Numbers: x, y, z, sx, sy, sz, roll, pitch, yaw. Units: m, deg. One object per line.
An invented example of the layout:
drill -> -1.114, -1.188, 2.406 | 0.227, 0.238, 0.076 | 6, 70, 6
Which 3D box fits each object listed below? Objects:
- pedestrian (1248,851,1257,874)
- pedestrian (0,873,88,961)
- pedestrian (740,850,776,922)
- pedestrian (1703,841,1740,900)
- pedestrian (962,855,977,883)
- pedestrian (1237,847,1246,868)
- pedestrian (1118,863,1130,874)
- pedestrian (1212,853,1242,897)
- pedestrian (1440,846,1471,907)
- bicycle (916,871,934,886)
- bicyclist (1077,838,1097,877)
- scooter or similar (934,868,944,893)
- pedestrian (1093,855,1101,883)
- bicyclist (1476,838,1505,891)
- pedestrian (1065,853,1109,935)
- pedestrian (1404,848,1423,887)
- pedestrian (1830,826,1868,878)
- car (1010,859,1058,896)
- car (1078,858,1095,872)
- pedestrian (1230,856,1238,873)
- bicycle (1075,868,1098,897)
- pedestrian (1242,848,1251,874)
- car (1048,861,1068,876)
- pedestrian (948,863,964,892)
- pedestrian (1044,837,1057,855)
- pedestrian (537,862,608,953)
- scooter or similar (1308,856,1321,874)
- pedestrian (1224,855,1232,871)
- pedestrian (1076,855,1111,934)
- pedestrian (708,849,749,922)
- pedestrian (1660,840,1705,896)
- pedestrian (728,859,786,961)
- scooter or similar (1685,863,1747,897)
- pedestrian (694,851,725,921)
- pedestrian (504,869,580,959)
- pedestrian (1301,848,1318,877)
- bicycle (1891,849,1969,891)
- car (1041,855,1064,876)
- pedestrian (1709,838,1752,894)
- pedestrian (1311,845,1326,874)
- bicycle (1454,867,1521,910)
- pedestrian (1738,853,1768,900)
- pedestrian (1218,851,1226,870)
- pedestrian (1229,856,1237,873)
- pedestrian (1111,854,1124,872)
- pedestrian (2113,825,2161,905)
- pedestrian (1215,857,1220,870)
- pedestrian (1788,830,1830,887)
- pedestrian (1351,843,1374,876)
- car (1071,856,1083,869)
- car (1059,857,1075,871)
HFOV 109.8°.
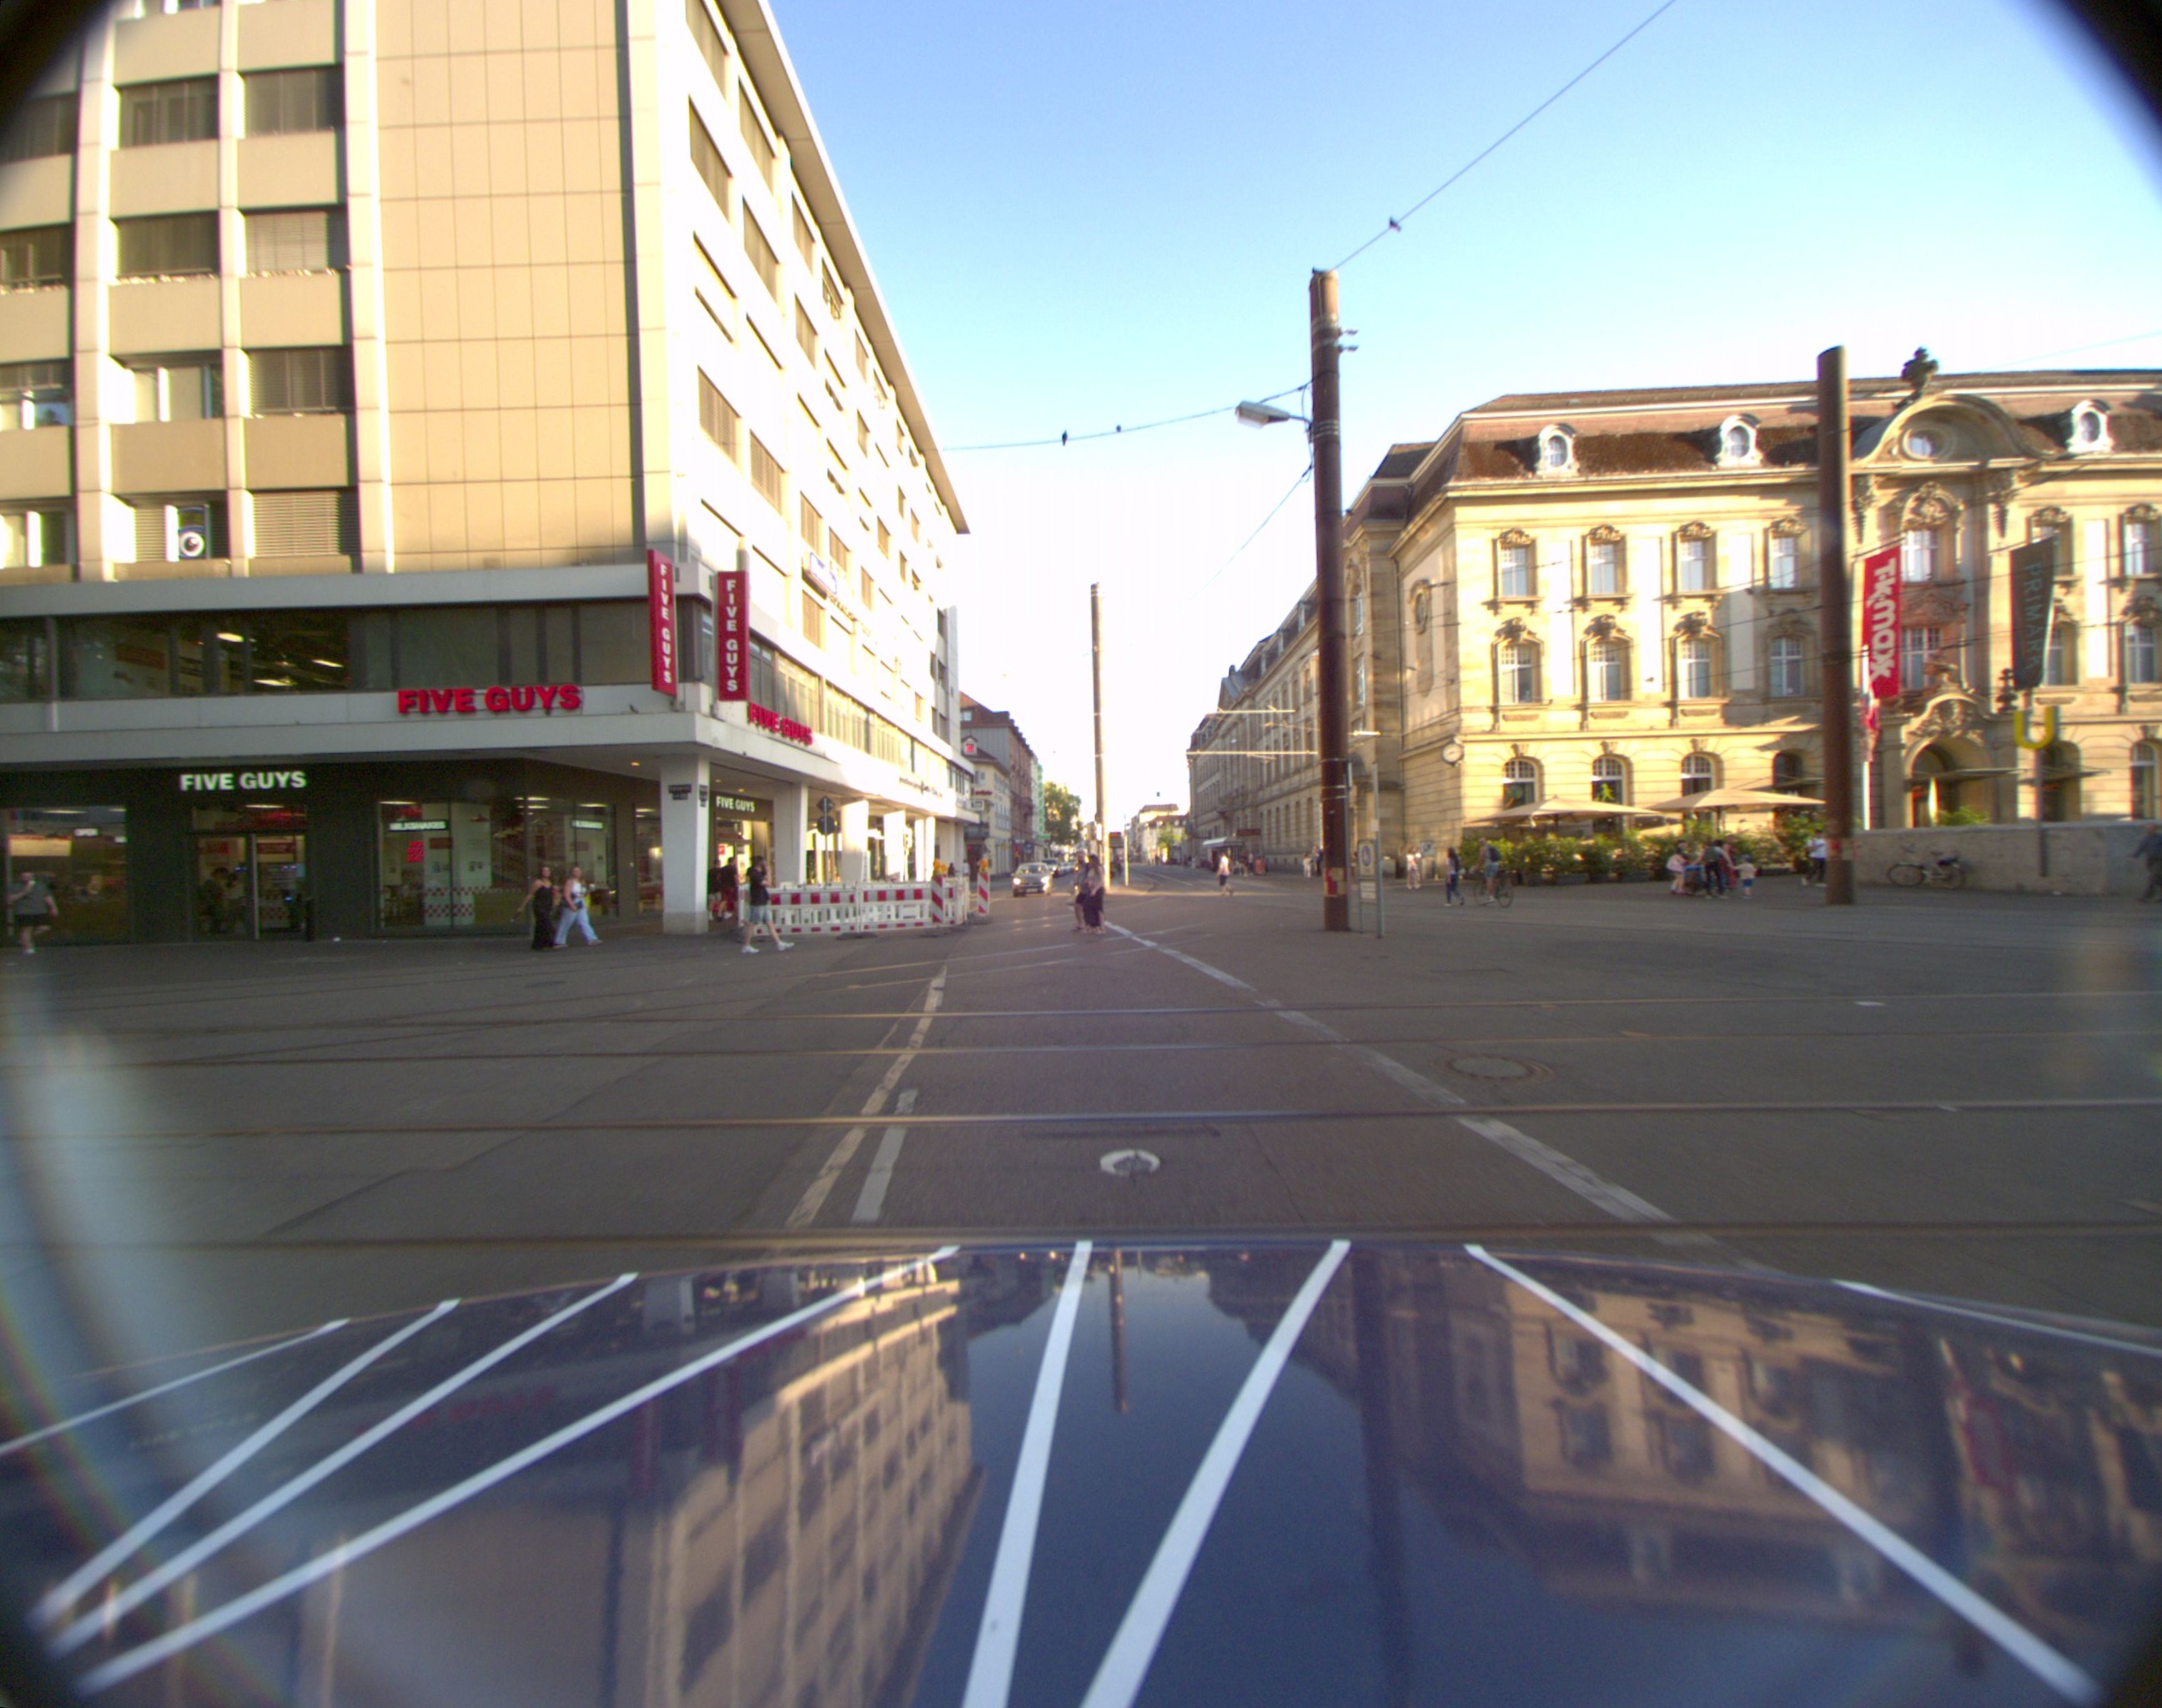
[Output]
pedestrian -> 12.797, 0.637, 56.571 | 0.519, 1.636, 0.638 | -2, 1, 5
pedestrian -> -21.271, 1.266, 15.497 | 0.840, 1.684, 0.841 | -3, 1, 2
pedestrian -> -9.210, 0.916, 21.687 | 0.706, 2.002, 0.471 | -3, 0, 11
pedestrian -> 17.392, 0.446, 20.644 | 0.649, 1.564, 0.481 | -2, 0, 29
pedestrian -> -7.588, 1.010, 51.735 | 0.700, 1.805, 0.852 | -3, 0, 8
pedestrian -> 12.065, 0.259, 57.201 | 0.519, 1.560, 0.638 | -2, 1, 5
pedestrian -> 3.705, 1.246, 65.565 | 0.799, 0.933, 0.694 | -2, 0, 25
pedestrian -> 5.607, 0.811, 29.163 | 0.804, 1.619, 0.834 | -2, 0, -13
pedestrian -> 10.463, 0.629, 21.235 | 0.649, 1.664, 0.531 | -2, 0, 18
bicycle -> -11.392, 1.773, 55.465 | 0.771, 1.022, 1.848 | -3, -2, 5
bicyclist -> 0.239, 0.137, 31.000 | 0.609, 1.584, 0.792 | -2, 0, 12
scooter or similar -> -8.764, 1.622, 46.836 | 0.314, 1.480, 1.315 | -2, 0, 2
pedestrian -> 0.955, 0.905, 46.024 | 0.357, 1.632, 0.503 | -3, 1, 0
bicyclist -> 11.287, 0.277, 20.949 | 0.422, 1.419, 0.563 | -3, 1, -5
pedestrian -> 0.117, 0.840, 16.244 | 0.746, 1.690, 0.609 | -2, 0, -17
pedestrian -> 13.059, 0.538, 29.838 | 0.501, 1.516, 0.528 | -2, 0, 39
pedestrian -> 25.870, -0.070, 25.607 | 0.498, 1.696, 0.720 | -3, 1, -4
car -> -2.072, 1.019, 34.662 | 1.738, 1.494, 4.000 | -3, 0, 2
car -> 0.696, 1.345, 90.792 | 1.810, 1.474, 4.284 | -4, -1, 1
pedestrian -> 11.924, 0.841, 59.287 | 0.519, 1.319, 0.638 | -2, 1, 5
bicycle -> 0.218, 1.154, 30.853 | 0.629, 1.097, 1.626 | -1, 1, 11
pedestrian -> 11.561, 0.467, 53.027 | 0.468, 1.766, 0.562 | -2, 0, 25
car -> -2.462, 1.561, 82.004 | 1.810, 1.474, 4.779 | -4, -1, 1
pedestrian -> -7.381, 1.401, 44.897 | 0.702, 1.683, 0.540 | -3, 1, -35
pedestrian -> -2.770, -0.772, 69.974 | 0.970, 1.619, 0.691 | -2, 0, 13
pedestrian -> -10.228, 1.056, 15.314 | 0.790, 1.725, 0.773 | -3, 1, 1
scooter or similar -> 15.710, 0.714, 51.098 | 0.488, 1.175, 1.293 | -3, 0, 4
pedestrian -> 12.269, 0.758, 63.528 | 0.519, 1.319, 0.638 | -2, 1, 5
pedestrian -> 0.258, 0.820, 15.618 | 0.571, 1.584, 0.448 | -2, 0, -15
pedestrian -> -10.010, 0.883, 21.593 | 0.780, 2.002, 0.517 | -3, 1, 3
pedestrian -> 17.689, 0.413, 22.360 | 0.824, 1.604, 0.692 | -2, 0, -24
pedestrian -> -5.870, 0.988, 13.763 | 0.725, 1.759, 0.669 | -4, 1, -39
scooter or similar -> 17.931, 0.728, 21.461 | 1.098, 0.899, 0.889 | -2, 0, -21
pedestrian -> -10.836, 0.933, 22.164 | 0.705, 2.002, 0.472 | -3, 1, 43
pedestrian -> -10.295, 1.132, 14.538 | 0.826, 1.621, 0.713 | -3, 1, 1
pedestrian -> 13.173, 0.502, 43.879 | 0.701, 1.605, 0.631 | -3, 0, 0
bicycle -> 23.445, 0.425, 21.025 | 0.450, 1.079, 1.581 | -3, 0, 4
car -> -2.818, 1.085, 75.994 | 1.881, 1.912, 4.700 | -4, 0, 1
pedestrian -> 19.259, 0.360, 22.548 | 0.773, 1.604, 0.666 | -2, 0, -24
pedestrian -> 14.875, 0.342, 47.661 | 0.622, 1.766, 0.706 | -2, 0, -2
bicycle -> 11.304, 0.929, 21.212 | 0.574, 1.091, 2.021 | -3, 0, -5
pedestrian -> 18.007, 0.606, 20.365 | 0.484, 1.236, 0.413 | -2, 0, 26
pedestrian -> 12.206, 0.576, 65.639 | 0.518, 1.641, 0.639 | -2, 1, 24
pedestrian -> 12.025, 0.835, 60.155 | 0.519, 1.319, 0.638 | -2, 1, 5
pedestrian -> 3.393, 0.835, 70.522 | 0.686, 1.628, 0.863 | -2, 0, 42
pedestrian -> 22.908, 0.223, 16.256 | 0.715, 1.664, 0.651 | -2, 0, 2
pedestrian -> 12.368, 0.878, 69.004 | 0.365, 1.193, 0.430 | -3, 1, 8
pedestrian -> 22.033, 0.139, 23.017 | 0.499, 1.696, 0.719 | -3, 1, -16
pedestrian -> 13.911, 0.272, 37.552 | 0.690, 1.619, 0.972 | -2, 0, 1
car -> -0.754, 1.476, 133.900 | 1.857, 2.055, 5.216 | -1, 0, 2
car -> -1.737, 1.262, 97.670 | 1.736, 1.502, 4.865 | -4, 0, 1
